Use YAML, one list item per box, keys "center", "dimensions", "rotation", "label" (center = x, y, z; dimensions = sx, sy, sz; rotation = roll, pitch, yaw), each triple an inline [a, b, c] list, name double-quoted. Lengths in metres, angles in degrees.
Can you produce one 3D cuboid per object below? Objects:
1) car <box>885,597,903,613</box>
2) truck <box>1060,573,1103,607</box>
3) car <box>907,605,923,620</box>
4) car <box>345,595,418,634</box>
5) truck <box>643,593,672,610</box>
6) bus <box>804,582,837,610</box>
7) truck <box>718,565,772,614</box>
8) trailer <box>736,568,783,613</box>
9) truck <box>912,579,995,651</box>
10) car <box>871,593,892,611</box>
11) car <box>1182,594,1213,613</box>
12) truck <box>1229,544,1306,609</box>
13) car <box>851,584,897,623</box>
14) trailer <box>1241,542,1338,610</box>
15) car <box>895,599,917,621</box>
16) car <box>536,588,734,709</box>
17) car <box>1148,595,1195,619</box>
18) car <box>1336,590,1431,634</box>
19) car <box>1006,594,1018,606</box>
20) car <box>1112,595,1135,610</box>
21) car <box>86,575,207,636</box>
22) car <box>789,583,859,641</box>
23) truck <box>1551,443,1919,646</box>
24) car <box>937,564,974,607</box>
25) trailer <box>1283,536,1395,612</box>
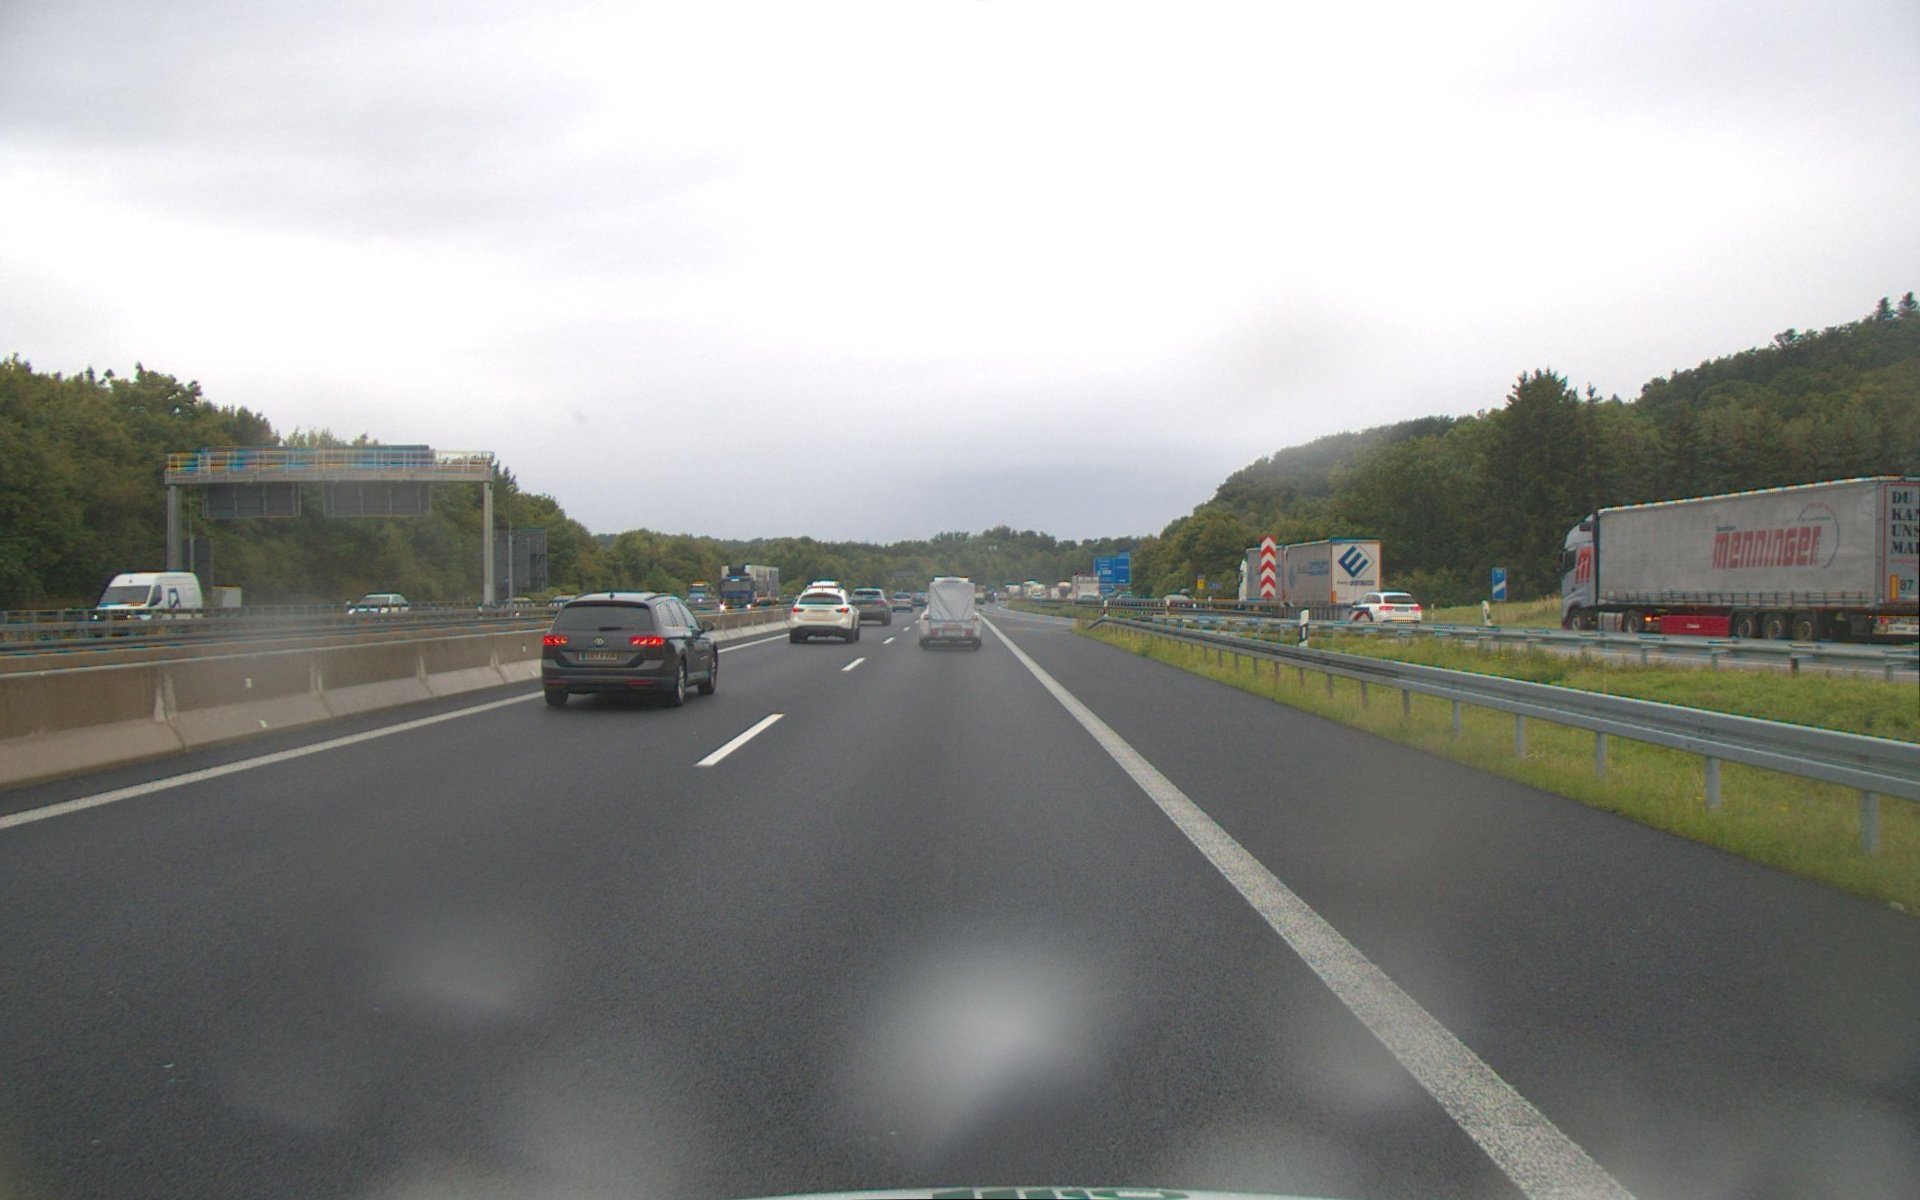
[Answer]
- center: [-7.061, 0.551, 177.127]
  dimensions: [1.782, 1.691, 4.017]
  rotation: [0, 0, 0]
  label: "car"
- center: [13.652, -1.089, 186.602]
  dimensions: [3.749, 3.723, 8.266]
  rotation: [1, 0, -4]
  label: "truck"
- center: [-4.919, 1.357, 180.856]
  dimensions: [1.611, 1.601, 4.000]
  rotation: [1, 0, 0]
  label: "car"
- center: [-27.957, 0.673, 80.051]
  dimensions: [1.953, 1.767, 4.581]
  rotation: [-1, 0, -1]
  label: "car"
- center: [-27.052, 0.118, 148.049]
  dimensions: [1.954, 1.522, 4.468]
  rotation: [0, 0, -3]
  label: "truck"
- center: [-13.605, -0.353, 161.927]
  dimensions: [2.489, 2.631, 8.270]
  rotation: [1, 0, 0]
  label: "bus"
- center: [-16.635, -0.766, 128.696]
  dimensions: [2.750, 3.586, 10.641]
  rotation: [1, 0, 0]
  label: "truck"
- center: [-16.688, -0.800, 138.108]
  dimensions: [2.883, 3.577, 8.050]
  rotation: [1, 0, 0]
  label: "trailer"
- center: [-0.218, 0.392, 47.297]
  dimensions: [2.196, 1.871, 6.583]
  rotation: [1, 0, -1]
  label: "truck"
- center: [-7.714, 0.190, 162.938]
  dimensions: [1.782, 1.691, 4.017]
  rotation: [0, 0, 0]
  label: "car"
- center: [17.495, 0.269, 121.897]
  dimensions: [1.662, 1.311, 3.534]
  rotation: [1, 0, -1]
  label: "car"
- center: [17.876, -1.327, 96.431]
  dimensions: [2.881, 3.588, 5.921]
  rotation: [1, 0, -5]
  label: "truck"
- center: [-4.045, 0.157, 78.674]
  dimensions: [1.935, 1.733, 4.802]
  rotation: [1, 0, 0]
  label: "car"
- center: [18.265, -1.295, 92.312]
  dimensions: [2.882, 3.588, 8.408]
  rotation: [1, 0, -6]
  label: "trailer"
- center: [-4.584, 0.852, 140.577]
  dimensions: [1.703, 1.825, 4.000]
  rotation: [1, 0, 0]
  label: "car"
- center: [-4.377, 0.592, 22.994]
  dimensions: [1.751, 1.484, 4.802]
  rotation: [1, 0, 0]
  label: "car"
- center: [13.418, 0.430, 105.240]
  dimensions: [1.947, 1.401, 5.314]
  rotation: [0, 1, -4]
  label: "car"
- center: [16.548, 0.463, 64.932]
  dimensions: [1.955, 1.645, 5.072]
  rotation: [0, 0, -6]
  label: "car"
- center: [7.109, -0.052, 225.936]
  dimensions: [1.611, 1.601, 4.000]
  rotation: [1, 0, 0]
  label: "car"
- center: [14.795, 0.195, 149.957]
  dimensions: [1.662, 1.311, 3.534]
  rotation: [1, 0, -1]
  label: "car"
- center: [-31.591, 0.188, 64.447]
  dimensions: [1.953, 2.252, 5.715]
  rotation: [0, 0, 0]
  label: "car"
- center: [-4.210, 0.338, 50.925]
  dimensions: [2.008, 1.700, 4.536]
  rotation: [1, 0, -5]
  label: "car"
- center: [22.056, -1.247, 46.220]
  dimensions: [3.746, 4.620, 16.867]
  rotation: [0, 0, -5]
  label: "truck"
- center: [-0.344, -0.965, 110.617]
  dimensions: [2.284, 2.773, 6.538]
  rotation: [0, 1, -2]
  label: "car"
- center: [19.153, -1.271, 84.136]
  dimensions: [3.019, 3.588, 8.073]
  rotation: [1, 0, -7]
  label: "trailer"
